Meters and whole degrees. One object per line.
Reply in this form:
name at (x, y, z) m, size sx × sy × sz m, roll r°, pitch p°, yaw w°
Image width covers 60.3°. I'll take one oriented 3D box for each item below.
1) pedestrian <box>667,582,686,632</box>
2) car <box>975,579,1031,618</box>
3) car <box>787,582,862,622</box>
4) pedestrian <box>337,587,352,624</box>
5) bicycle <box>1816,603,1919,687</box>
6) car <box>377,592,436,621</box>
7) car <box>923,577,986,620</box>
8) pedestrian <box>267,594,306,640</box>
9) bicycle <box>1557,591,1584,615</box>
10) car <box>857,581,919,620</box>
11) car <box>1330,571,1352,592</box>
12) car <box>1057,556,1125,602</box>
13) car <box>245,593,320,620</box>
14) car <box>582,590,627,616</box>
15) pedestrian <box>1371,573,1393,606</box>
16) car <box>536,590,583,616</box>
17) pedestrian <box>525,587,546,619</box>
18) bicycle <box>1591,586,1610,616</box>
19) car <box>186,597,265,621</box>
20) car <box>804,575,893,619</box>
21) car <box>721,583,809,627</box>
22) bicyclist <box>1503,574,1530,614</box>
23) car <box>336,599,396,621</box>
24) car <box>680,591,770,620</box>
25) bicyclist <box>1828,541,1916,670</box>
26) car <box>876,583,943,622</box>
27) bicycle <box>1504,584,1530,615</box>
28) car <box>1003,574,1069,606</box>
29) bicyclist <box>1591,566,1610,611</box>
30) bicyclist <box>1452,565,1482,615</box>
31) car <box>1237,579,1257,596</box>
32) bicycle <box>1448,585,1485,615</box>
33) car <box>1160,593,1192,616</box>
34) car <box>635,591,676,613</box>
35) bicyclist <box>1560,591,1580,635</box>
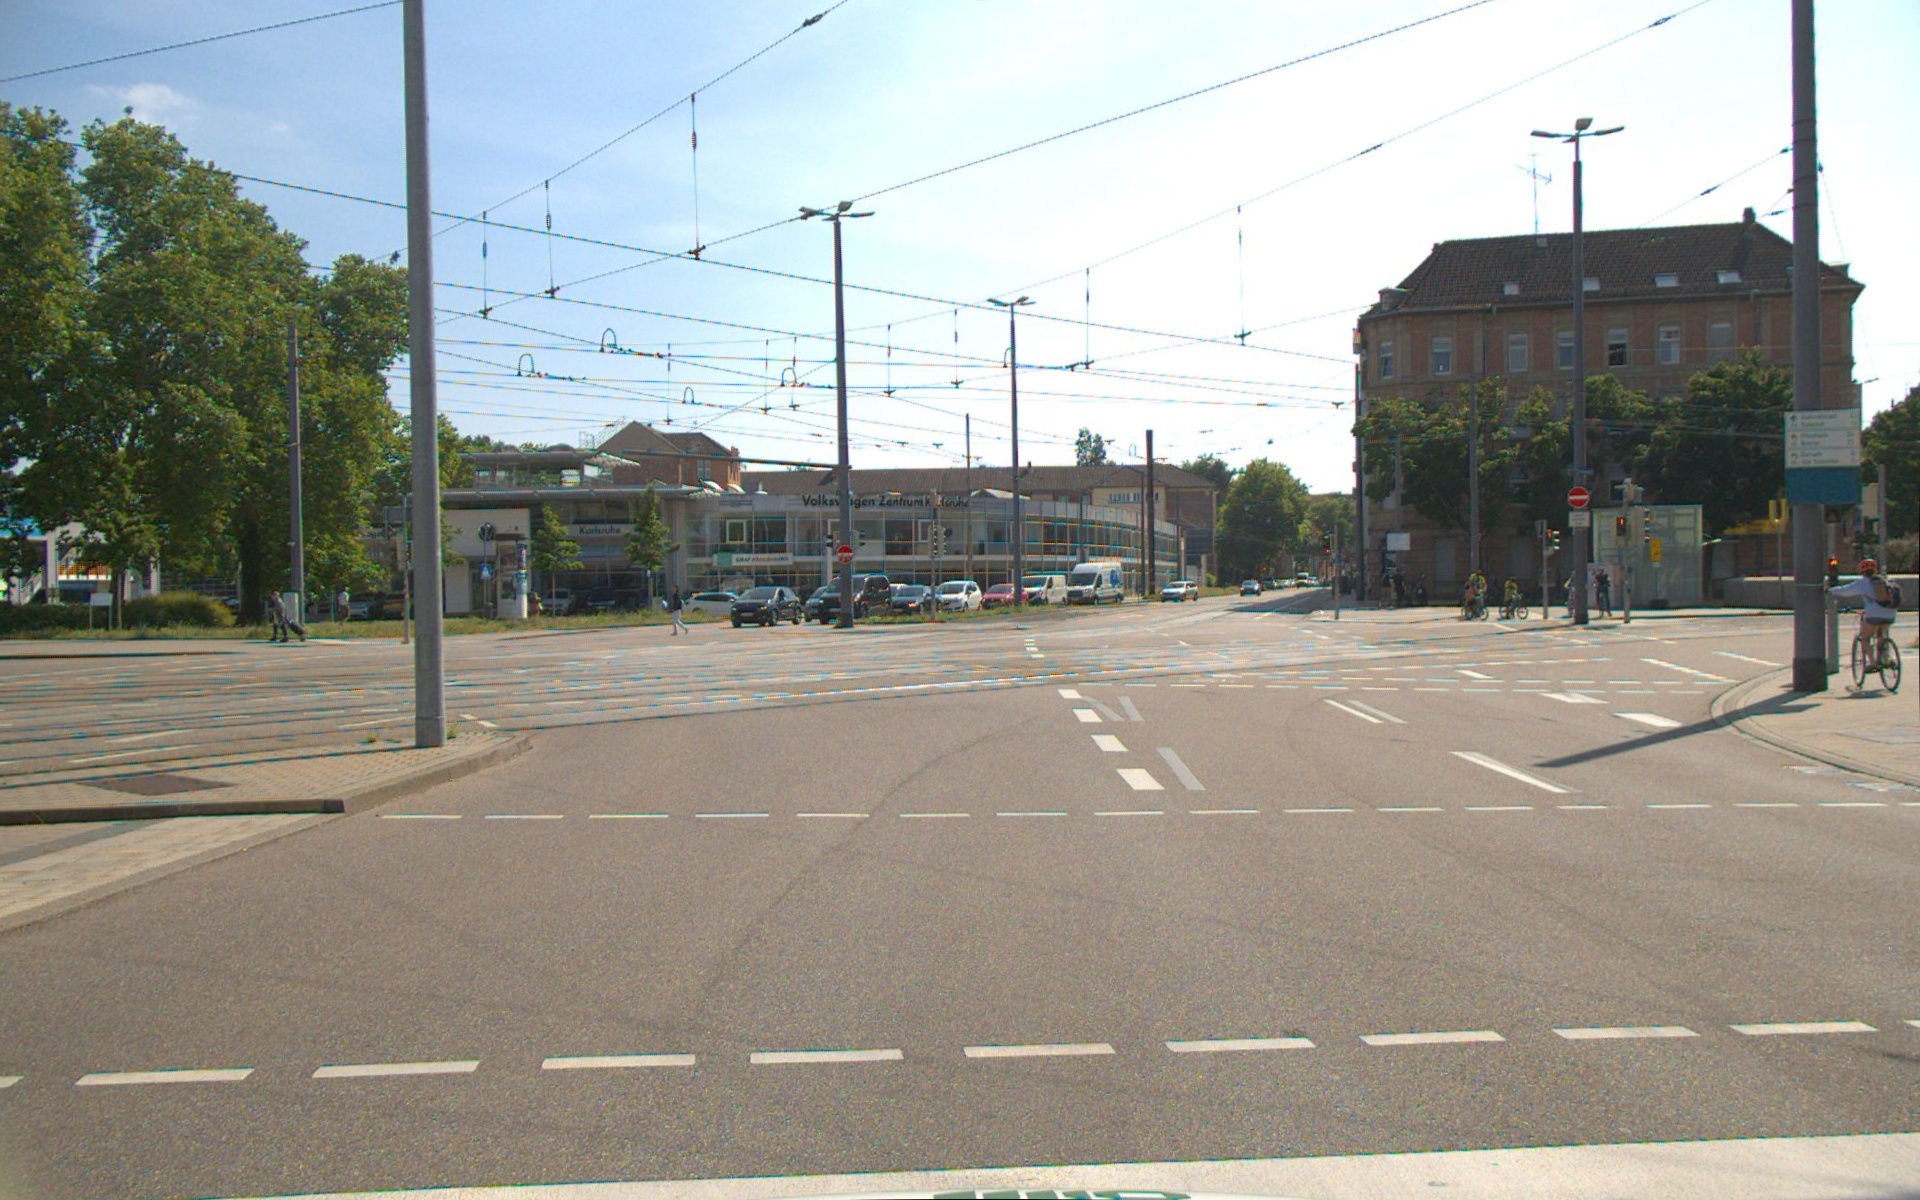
pedestrian at (-9.330, 0.242, 54.386) m, size 0.449 × 1.633 × 0.395 m, roll 1°, pitch -1°, yaw -37°
car at (2.259, -0.061, 85.363) m, size 1.854 × 1.950 × 4.203 m, roll -1°, pitch -1°, yaw 16°
car at (-5.740, 0.097, 70.362) m, size 1.854 × 1.615 × 4.002 m, roll -1°, pitch -1°, yaw 16°
pedestrian at (-27.114, 0.224, 72.872) m, size 0.384 × 1.624 × 0.464 m, roll 1°, pitch -1°, yaw 23°
bicycle at (12.498, 0.593, 22.633) m, size 0.699 × 1.033 × 2.022 m, roll -3°, pitch 0°, yaw 7°
car at (-33.681, 0.407, 100.706) m, size 1.951 × 1.713 × 4.002 m, roll 1°, pitch 0°, yaw 4°
car at (-0.237, -0.039, 78.427) m, size 1.854 × 1.950 × 4.203 m, roll -1°, pitch -1°, yaw 16°
pedestrian at (-21.123, 0.536, 51.882) m, size 1.098 × 1.428 × 0.652 m, roll 1°, pitch -1°, yaw -23°
bicycle at (22.839, 0.119, 61.892) m, size 0.489 × 0.881 × 1.588 m, roll 1°, pitch 1°, yaw 4°
car at (-3.368, 0.054, 78.058) m, size 1.616 × 1.769 × 4.203 m, roll -1°, pitch -1°, yaw 16°
car at (38.195, -1.900, 165.837) m, size 2.063 × 2.049 × 4.004 m, roll -1°, pitch 0°, yaw 13°
car at (7.921, -1.242, 99.671) m, size 2.165 × 2.620 × 5.870 m, roll 1°, pitch 0°, yaw 25°
car at (-42.653, 0.416, 104.165) m, size 3.907 × 1.579 × 1.999 m, roll -1°, pitch 0°, yaw -3°
car at (-21.466, 0.188, 100.028) m, size 1.953 × 1.512 × 3.998 m, roll 1°, pitch 0°, yaw -2°
pedestrian at (18.537, -0.468, 72.702) m, size 0.608 × 1.458 × 0.703 m, roll 1°, pitch -1°, yaw -38°
car at (-24.194, 0.197, 100.014) m, size 1.953 × 1.512 × 3.998 m, roll 1°, pitch 0°, yaw -2°
pedestrian at (-21.935, 0.166, 85.447) m, size 0.934 × 1.607 × 0.534 m, roll 1°, pitch -1°, yaw -4°
bicycle at (23.876, 0.022, 61.642) m, size 0.653 × 1.088 × 2.463 m, roll 1°, pitch 1°, yaw 22°
car at (-44.871, 0.535, 101.087) m, size 3.906 × 1.395 × 1.999 m, roll 1°, pitch 0°, yaw -1°
car at (-4.251, -0.159, 63.957) m, size 1.919 × 1.615 × 4.719 m, roll -1°, pitch 1°, yaw 16°
car at (-7.490, 0.212, 63.816) m, size 1.851 × 1.615 × 4.213 m, roll -1°, pitch -1°, yaw 16°
bicyclist at (20.882, -0.227, 62.070) m, size 0.907 × 1.477 × 1.252 m, roll 1°, pitch 1°, yaw 18°
car at (-35.990, 0.589, 100.275) m, size 1.951 × 1.266 × 4.002 m, roll 1°, pitch 0°, yaw 4°
car at (-12.376, 0.281, 87.183) m, size 4.487 × 1.461 × 1.445 m, roll 1°, pitch 0°, yaw 13°
bicyclist at (12.462, 0.075, 22.626) m, size 0.699 × 1.698 × 0.875 m, roll -3°, pitch 0°, yaw 7°
car at (-2.148, 0.121, 71.105) m, size 1.854 × 1.615 × 4.003 m, roll -1°, pitch -1°, yaw 13°
bicycle at (20.938, -0.031, 62.220) m, size 0.907 × 1.088 × 2.842 m, roll 1°, pitch 1°, yaw 18°
car at (4.300, -0.590, 92.365) m, size 2.140 × 1.710 × 5.029 m, roll -1°, pitch 0°, yaw 22°
bicyclist at (23.834, -0.424, 61.526) m, size 0.653 × 1.652 × 0.782 m, roll 1°, pitch 1°, yaw 22°
bicyclist at (18.993, -0.367, 61.942) m, size 0.906 × 1.852 × 1.053 m, roll 1°, pitch -1°, yaw 9°
car at (26.688, -1.149, 153.926) m, size 1.355 × 1.439 × 3.013 m, roll 1°, pitch 0°, yaw 18°
bicycle at (19.001, 0.025, 62.083) m, size 0.907 × 1.088 × 2.749 m, roll 1°, pitch 0°, yaw 9°
car at (15.611, 0.325, 119.450) m, size 1.357 × 1.653 × 3.337 m, roll 1°, pitch 0°, yaw 25°
car at (-18.337, 0.120, 99.687) m, size 1.793 × 1.216 × 3.998 m, roll 1°, pitch 0°, yaw -2°
bicyclist at (22.842, 0.486, 61.932) m, size 0.489 × 1.649 × 0.650 m, roll 1°, pitch 0°, yaw 4°
